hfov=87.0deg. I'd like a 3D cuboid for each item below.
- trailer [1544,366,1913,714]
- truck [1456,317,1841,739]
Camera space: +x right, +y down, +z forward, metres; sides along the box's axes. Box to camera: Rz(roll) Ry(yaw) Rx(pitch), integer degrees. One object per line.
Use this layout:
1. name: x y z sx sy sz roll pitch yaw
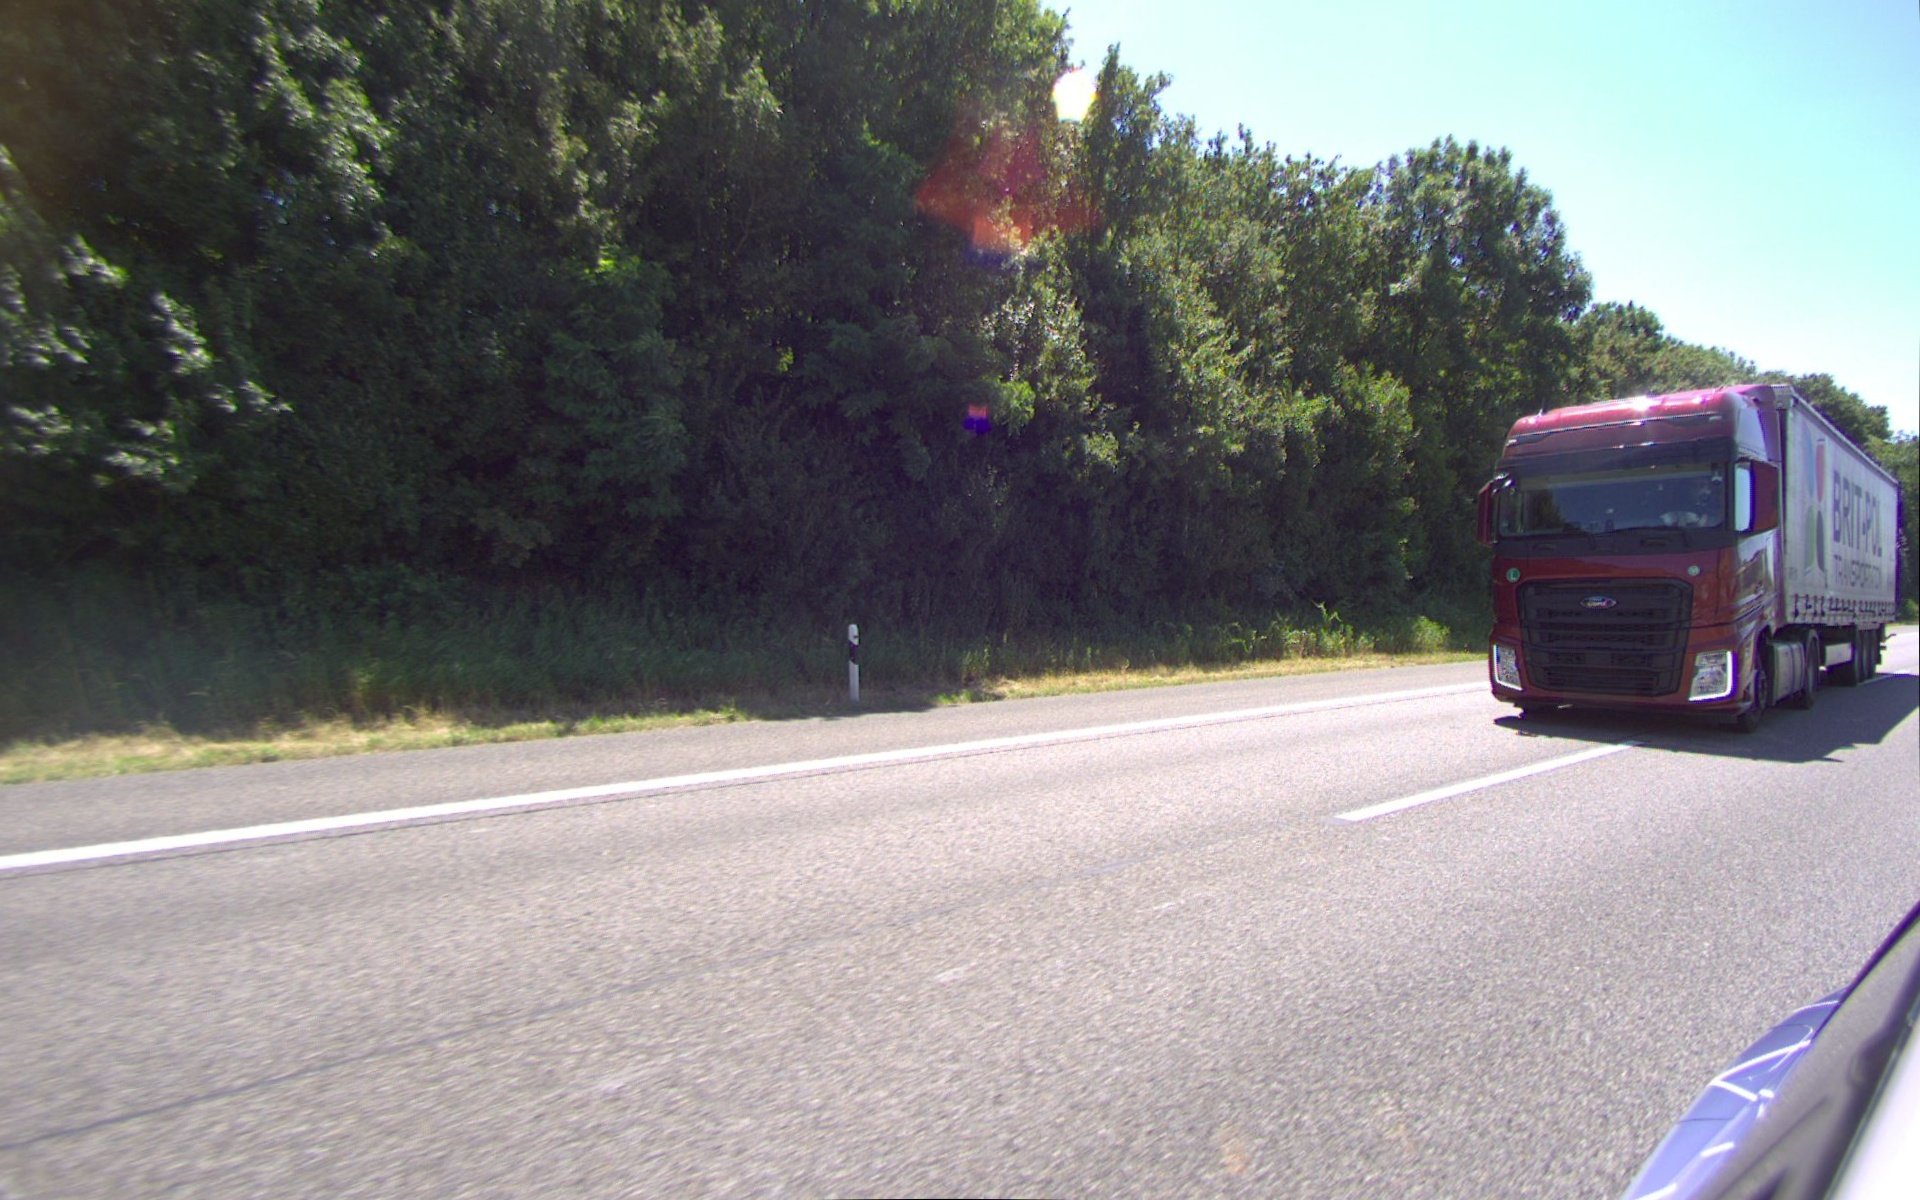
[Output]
1. trailer: 14.109 -0.759 17.716 13.602 4.121 2.881 0 1 -43
2. truck: 8.936 -0.731 12.886 5.674 4.121 2.866 0 0 -43
